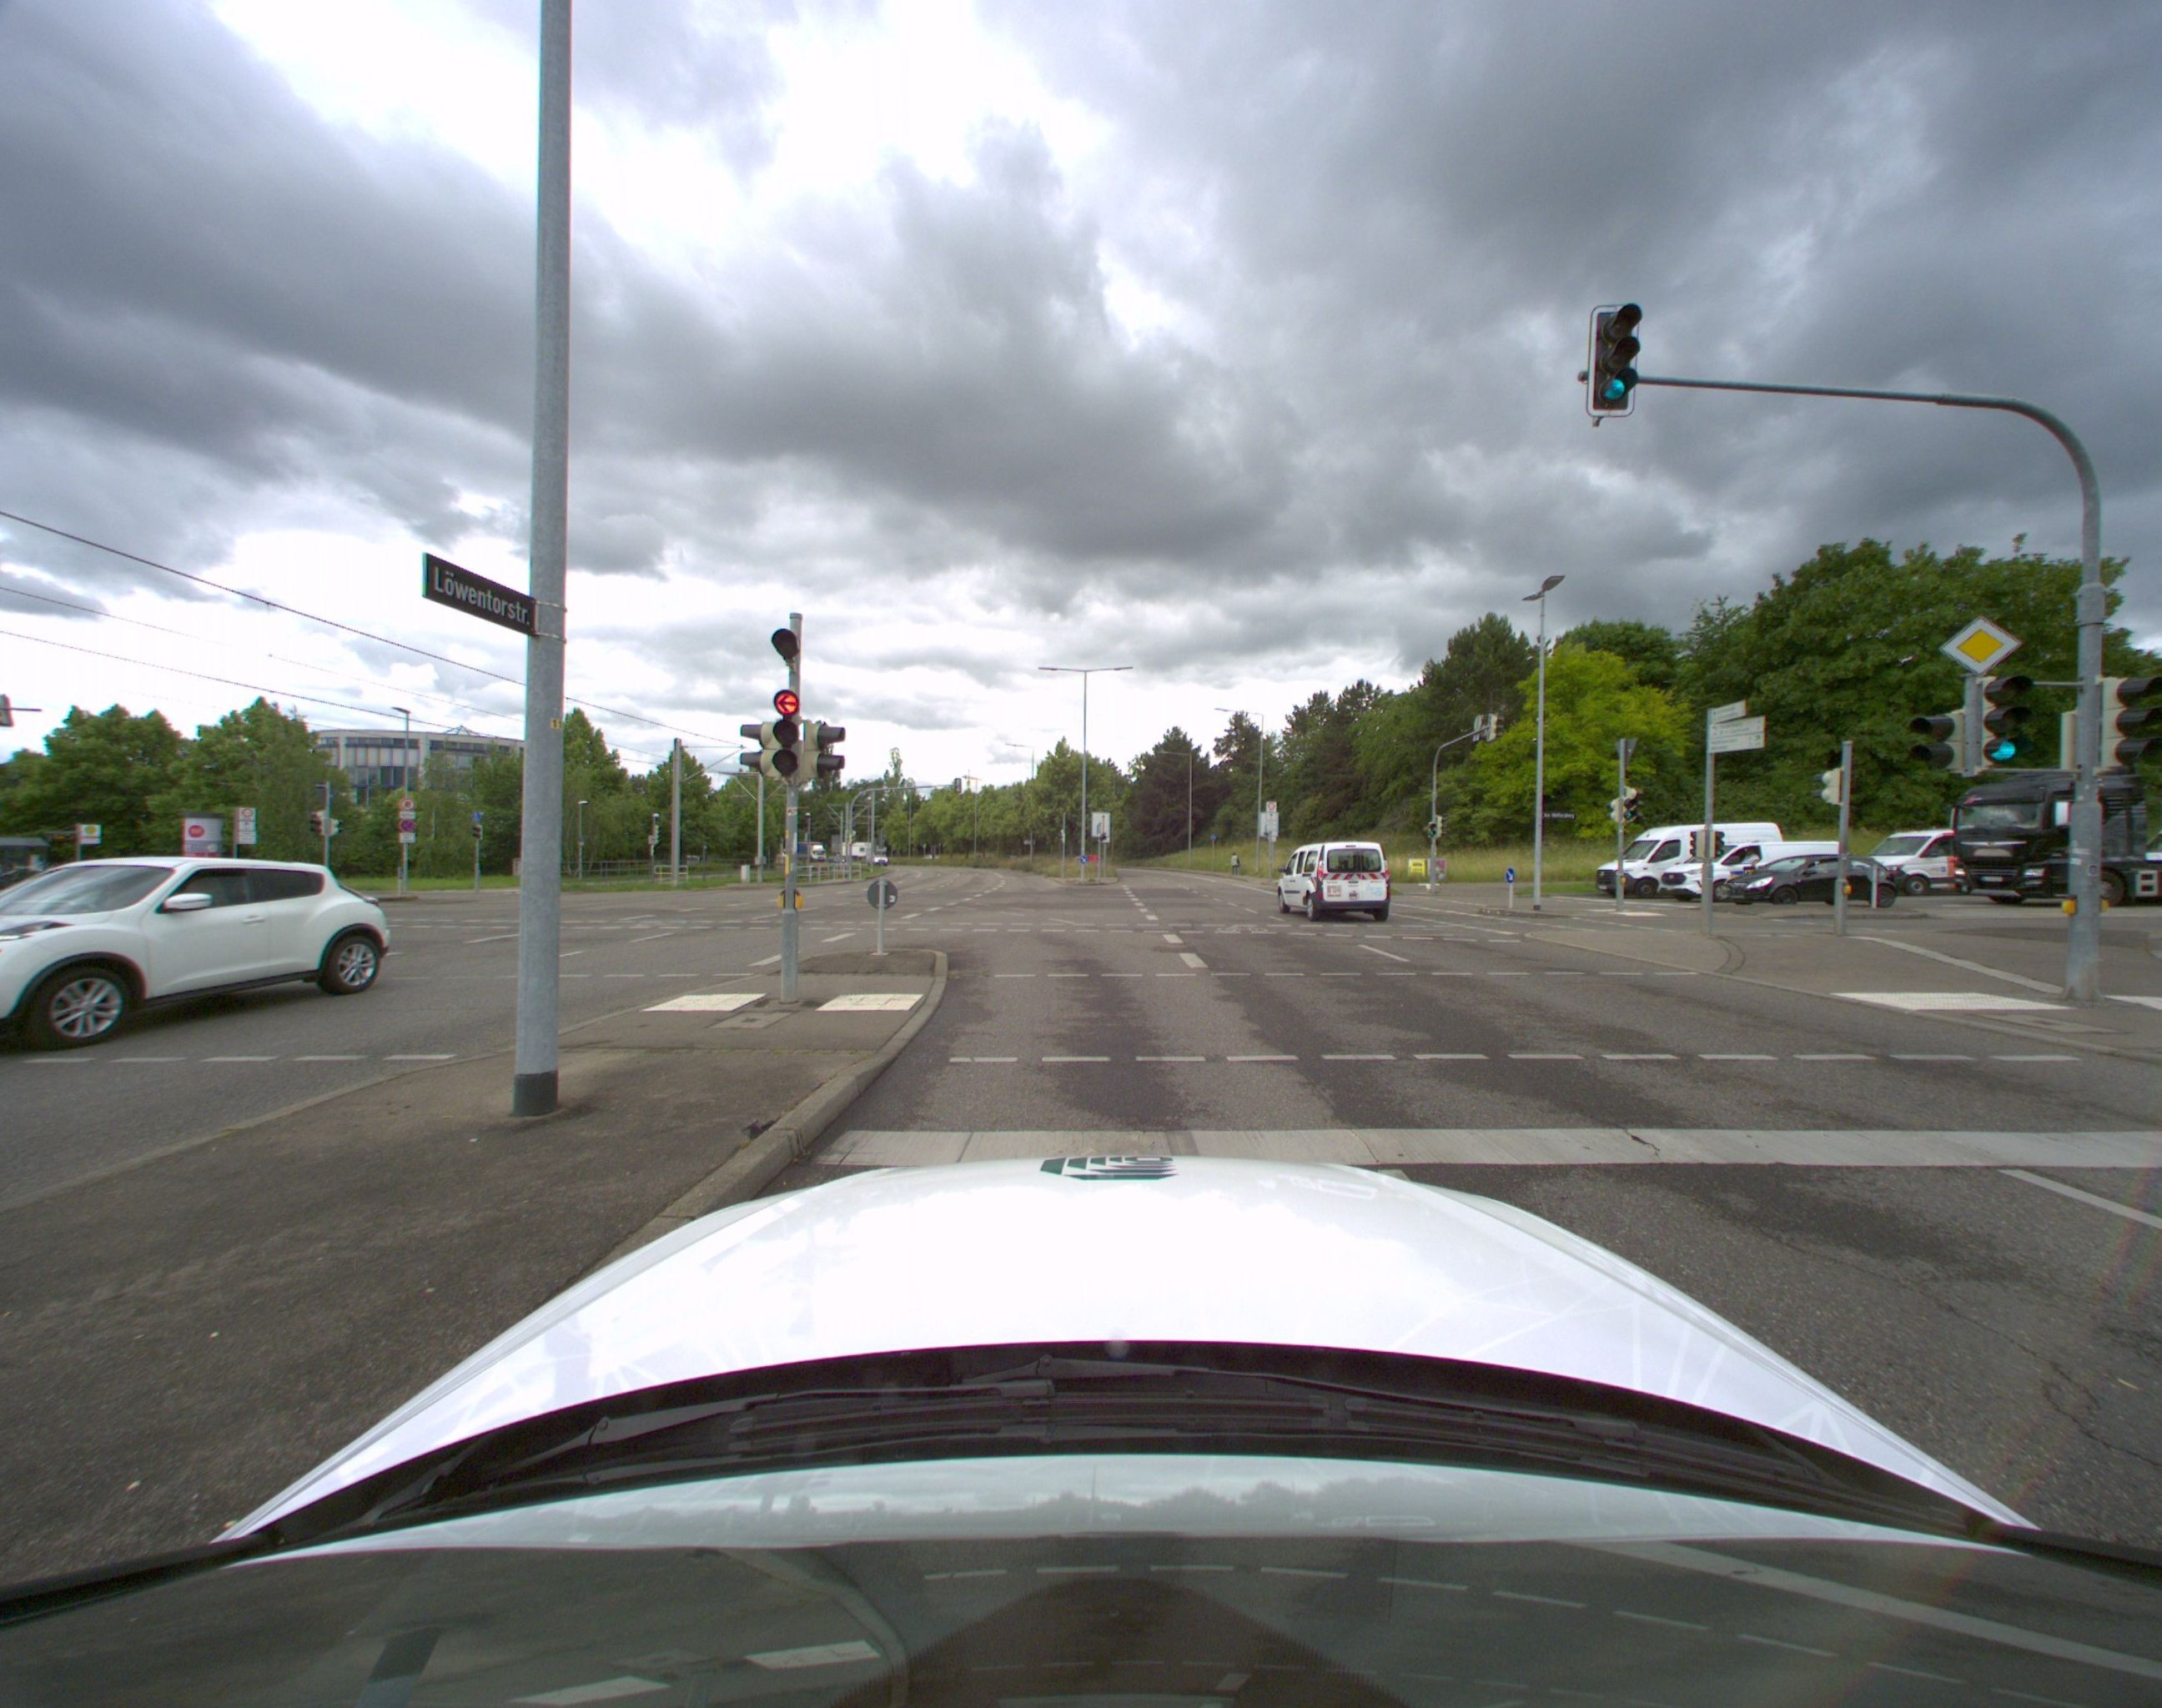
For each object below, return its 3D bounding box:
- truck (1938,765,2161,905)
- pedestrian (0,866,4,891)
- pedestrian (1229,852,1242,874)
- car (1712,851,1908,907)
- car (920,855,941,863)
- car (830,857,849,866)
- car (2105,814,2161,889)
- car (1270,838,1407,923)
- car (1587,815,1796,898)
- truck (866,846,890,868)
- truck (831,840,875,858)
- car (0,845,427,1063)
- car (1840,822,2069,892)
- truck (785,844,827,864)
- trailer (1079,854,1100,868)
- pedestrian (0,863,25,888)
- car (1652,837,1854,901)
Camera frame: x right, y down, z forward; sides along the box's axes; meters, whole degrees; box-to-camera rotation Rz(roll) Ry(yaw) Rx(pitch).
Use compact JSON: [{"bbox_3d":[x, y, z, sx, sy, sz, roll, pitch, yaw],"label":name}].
[{"bbox_3d":[27.937,-0.517,22.270,6.027,3.538,2.729,-1,0,2],"label":"truck"},{"bbox_3d":[-57.780,1.298,43.133,0.774,1.303,0.666,0,0,15],"label":"pedestrian"},{"bbox_3d":[11.419,0.654,60.358,0.811,1.627,0.791,0,0,1],"label":"pedestrian"},{"bbox_3d":[20.282,0.667,22.773,3.905,1.436,1.732,-1,0,1],"label":"car"},{"bbox_3d":[-26.960,0.854,145.639,1.793,1.421,4.405,-1,0,-41],"label":"car"},{"bbox_3d":[-42.141,1.251,142.257,1.794,1.446,4.479,-3,2,-36],"label":"car"},{"bbox_3d":[40.491,-0.144,28.467,6.473,2.609,2.197,-1,0,2],"label":"car"},{"bbox_3d":[6.103,0.595,19.936,1.986,1.802,4.842,-1,-1,2],"label":"car"},{"bbox_3d":[21.900,0.093,29.409,5.870,2.781,2.136,-1,0,2],"label":"car"},{"bbox_3d":[-30.652,0.450,122.875,2.127,3.135,5.847,0,-1,-27],"label":"truck"},{"bbox_3d":[-45.922,-0.977,163.858,11.260,3.328,2.766,0,0,40],"label":"truck"},{"bbox_3d":[-9.054,0.767,7.946,1.824,1.629,4.422,-1,0,-2],"label":"car"},{"bbox_3d":[30.685,0.108,28.764,5.677,2.289,2.136,-1,0,2],"label":"car"},{"bbox_3d":[-54.026,0.109,159.838,3.075,3.760,12.660,0,-1,-41],"label":"truck"},{"bbox_3d":[0.987,0.804,95.320,1.767,1.616,3.030,-1,0,-13],"label":"trailer"},{"bbox_3d":[-56.404,1.129,42.911,0.774,1.304,0.666,0,0,15],"label":"pedestrian"},{"bbox_3d":[21.594,0.456,26.329,4.836,1.896,2.034,-1,0,1],"label":"car"}]
